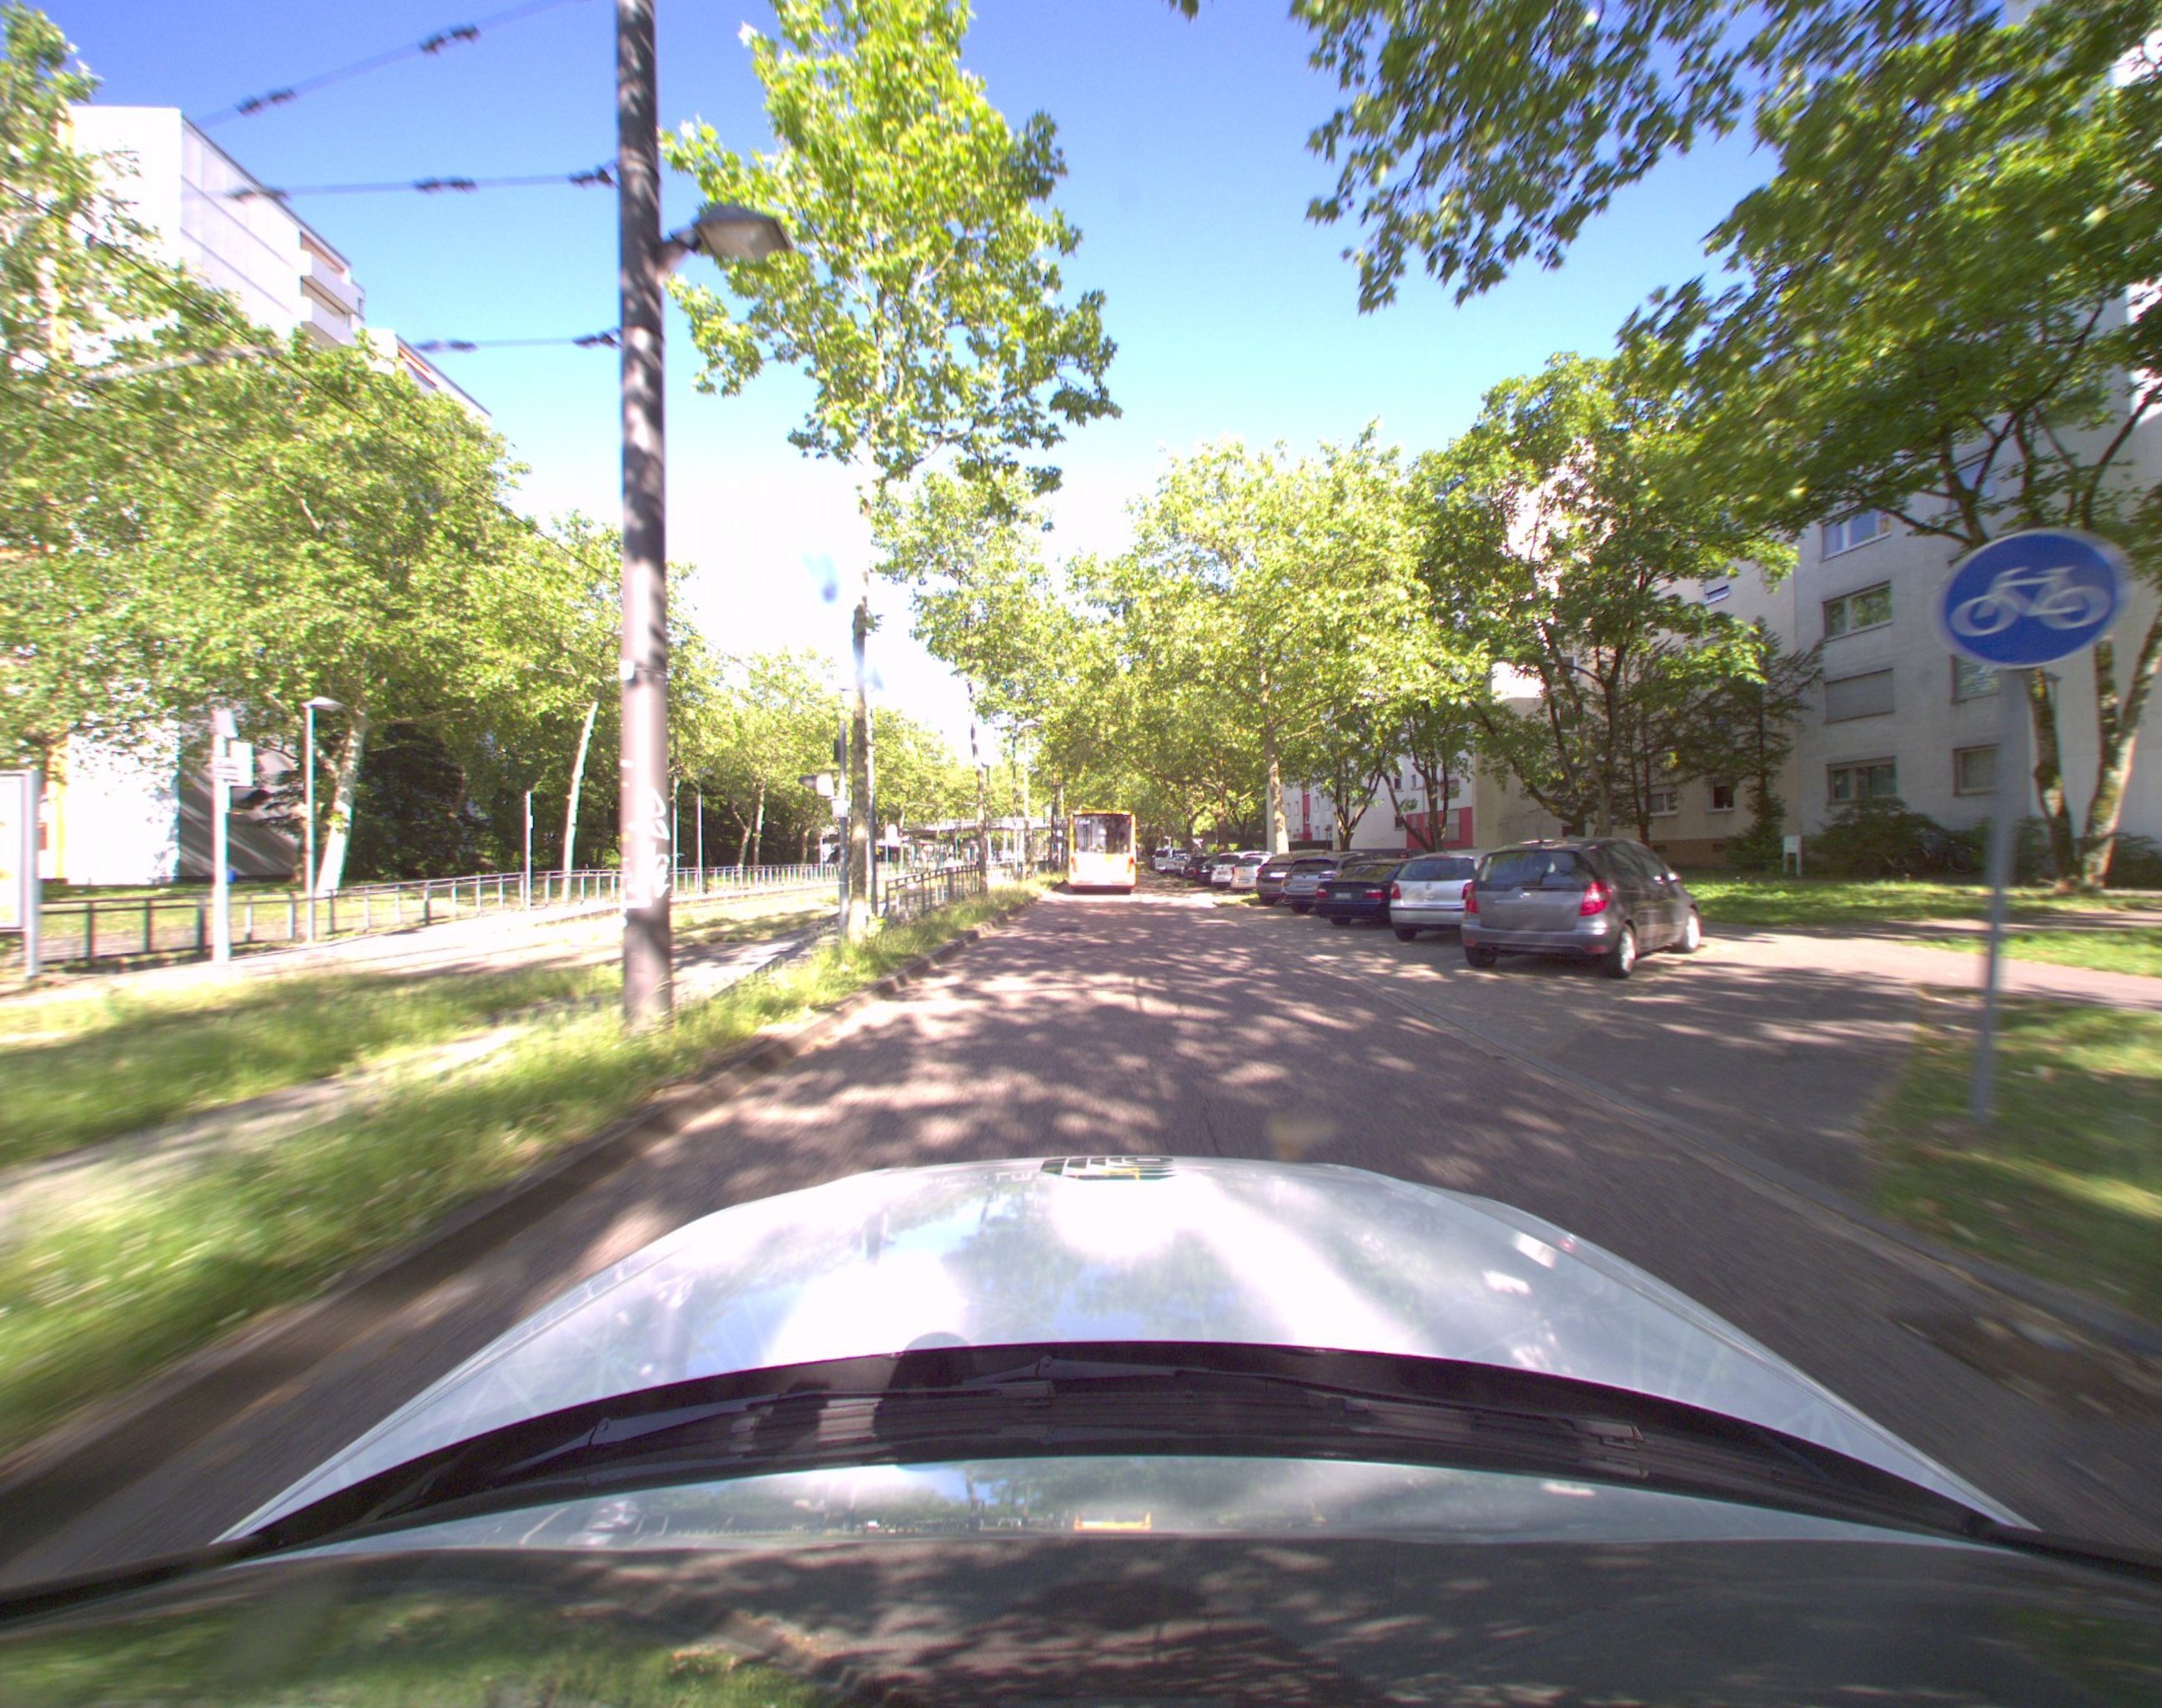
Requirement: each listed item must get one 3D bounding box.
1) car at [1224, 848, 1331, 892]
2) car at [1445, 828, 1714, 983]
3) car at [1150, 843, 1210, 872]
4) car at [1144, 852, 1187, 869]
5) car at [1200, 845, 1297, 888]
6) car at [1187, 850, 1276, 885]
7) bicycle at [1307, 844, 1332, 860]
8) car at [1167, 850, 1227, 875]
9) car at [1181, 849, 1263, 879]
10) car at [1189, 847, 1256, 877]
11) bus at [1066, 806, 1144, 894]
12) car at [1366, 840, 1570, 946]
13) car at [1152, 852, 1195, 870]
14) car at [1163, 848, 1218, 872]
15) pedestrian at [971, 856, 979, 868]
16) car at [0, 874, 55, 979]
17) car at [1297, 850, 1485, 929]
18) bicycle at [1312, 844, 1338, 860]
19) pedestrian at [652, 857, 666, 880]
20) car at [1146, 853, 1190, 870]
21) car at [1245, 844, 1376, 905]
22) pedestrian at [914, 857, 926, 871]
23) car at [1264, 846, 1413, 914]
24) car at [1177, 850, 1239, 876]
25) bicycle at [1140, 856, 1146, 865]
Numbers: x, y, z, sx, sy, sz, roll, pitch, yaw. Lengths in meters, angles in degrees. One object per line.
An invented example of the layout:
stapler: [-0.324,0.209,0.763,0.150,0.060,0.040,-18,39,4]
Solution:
car: [7.338,0.570,30.262,4.021,1.444,1.779,-2,0,-40]
car: [6.491,0.526,10.468,3.746,1.593,1.779,-2,0,-40]
car: [7.833,0.275,64.451,4.613,2.052,1.994,-3,0,-39]
car: [8.724,0.664,83.820,4.278,1.461,1.779,-3,0,-39]
car: [7.066,0.508,34.215,4.020,1.576,1.779,-2,0,-39]
car: [7.167,0.608,38.489,4.616,1.422,1.778,-2,0,-44]
bicycle: [18.846,-0.136,64.325,1.790,1.129,0.499,-4,0,-4]
car: [7.892,0.562,55.156,1.777,1.510,4.237,-3,0,44]
car: [7.857,0.536,45.208,4.430,1.428,1.929,-3,0,-38]
car: [8.538,0.447,48.960,4.022,1.589,1.778,-3,0,-41]
bus: [0.990,-0.125,36.736,2.890,3.267,12.219,-1,0,1]
car: [6.661,0.579,13.888,3.603,1.492,1.779,-2,0,-40]
car: [8.837,0.653,77.648,4.022,1.468,1.761,-3,0,-41]
car: [8.270,0.476,61.428,4.080,1.580,1.811,-3,0,-41]
pedestrian: [-11.759,0.890,90.743,0.775,1.238,0.722,-1,0,0]
car: [-17.746,1.147,11.196,1.787,1.608,4.269,-1,0,2]
car: [6.532,0.666,16.954,4.168,1.318,1.779,-2,0,-39]
bicycle: [18.898,-0.145,63.117,1.790,1.129,0.499,-4,0,-4]
pedestrian: [-31.188,1.060,60.185,0.645,1.661,0.650,0,0,2]
car: [8.669,0.714,80.653,4.278,1.461,1.779,-3,0,-39]
car: [6.698,0.543,23.483,1.777,1.510,4.202,-2,0,45]
pedestrian: [-12.952,0.798,65.463,0.763,1.183,0.763,0,0,2]
car: [6.497,0.596,20.373,3.910,1.445,1.778,-2,0,-42]
car: [8.154,0.571,52.095,4.023,1.419,1.809,-3,0,-44]
bicycle: [8.656,0.955,113.260,0.588,1.183,1.800,-4,0,1]
